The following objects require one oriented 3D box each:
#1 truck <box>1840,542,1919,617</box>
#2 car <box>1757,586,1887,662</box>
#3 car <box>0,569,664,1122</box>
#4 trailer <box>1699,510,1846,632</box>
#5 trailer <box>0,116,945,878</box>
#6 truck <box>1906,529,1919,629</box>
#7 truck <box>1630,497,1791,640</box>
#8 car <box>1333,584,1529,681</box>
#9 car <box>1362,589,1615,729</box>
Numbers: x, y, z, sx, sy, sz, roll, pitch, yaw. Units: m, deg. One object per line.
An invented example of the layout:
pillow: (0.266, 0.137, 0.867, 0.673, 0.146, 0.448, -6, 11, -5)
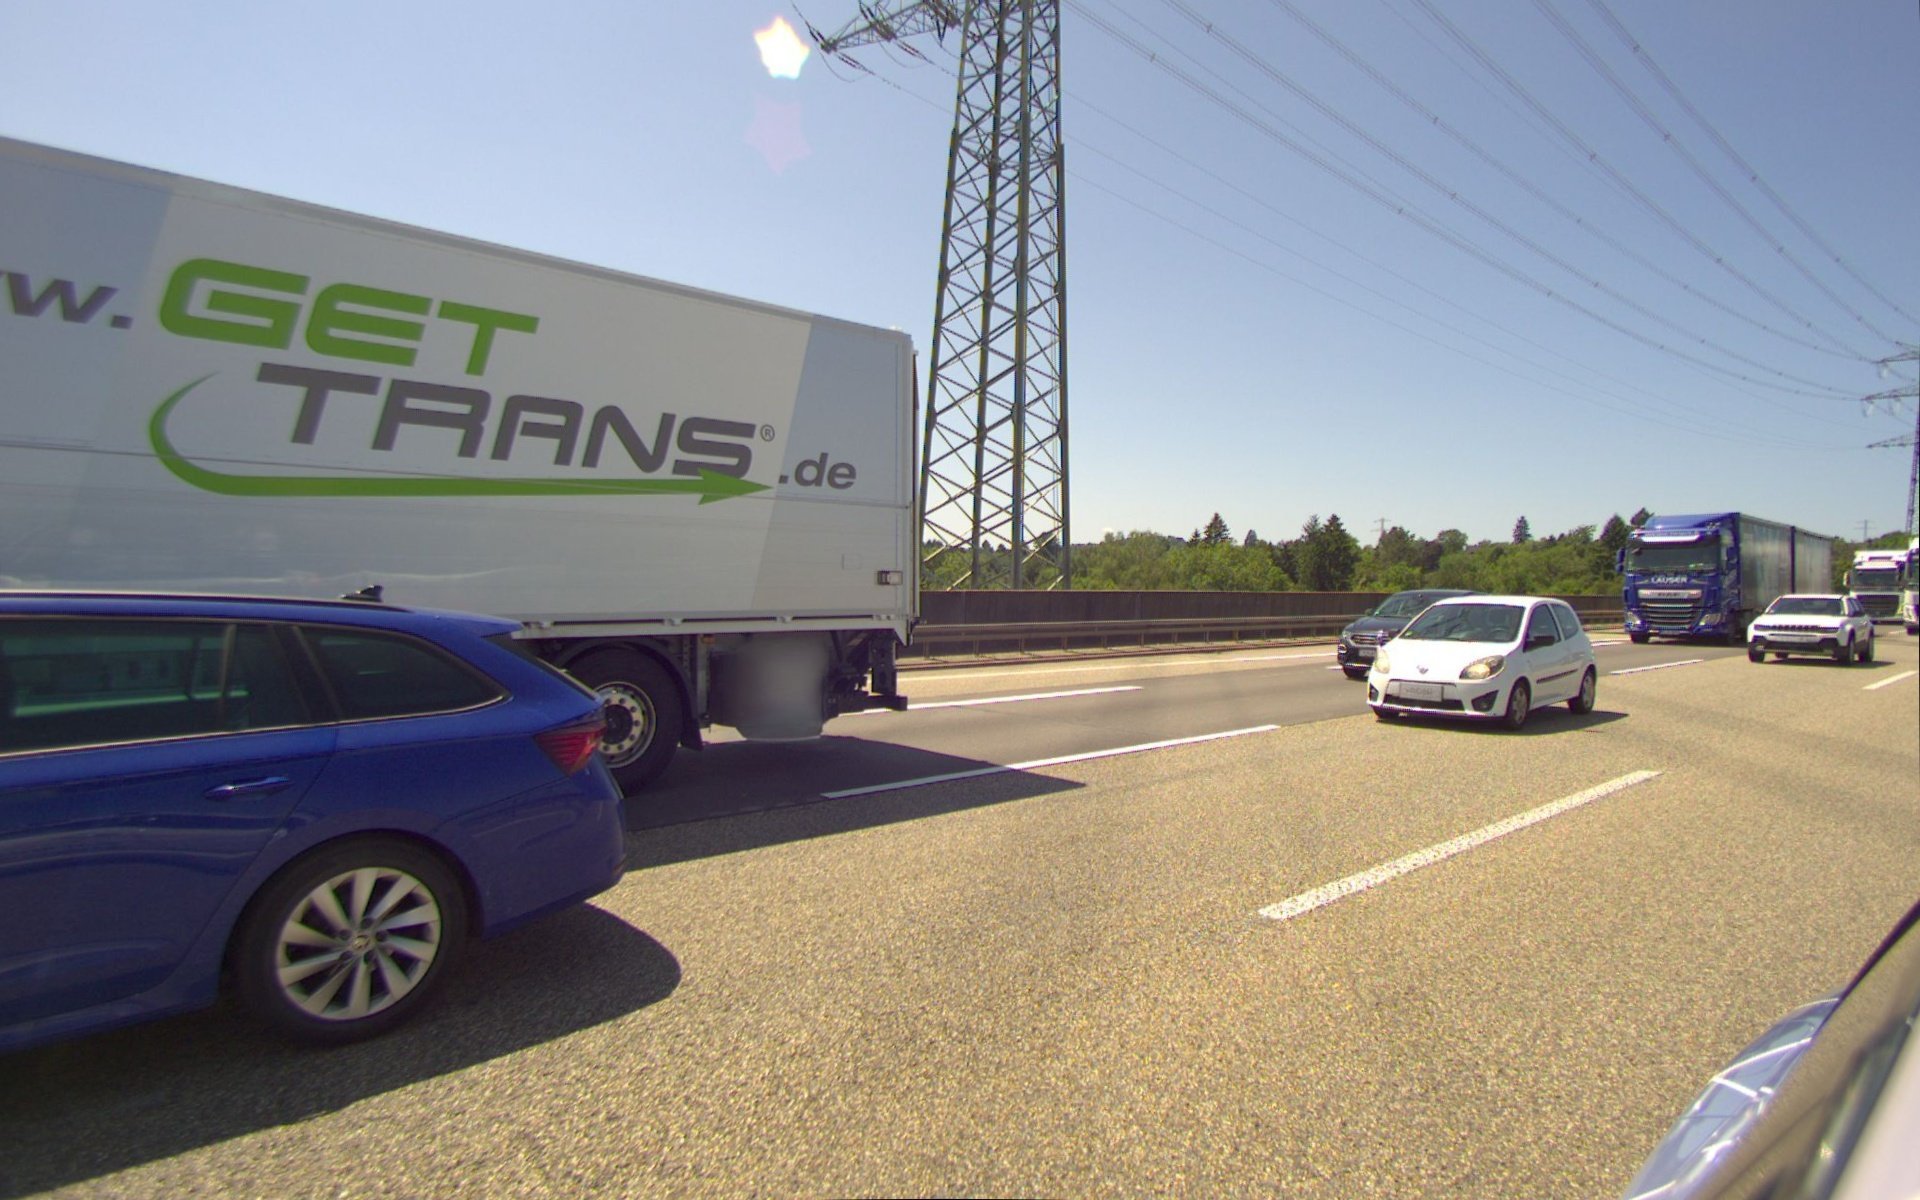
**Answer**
truck: (51.130, -1.113, 55.920, 6.624, 3.941, 2.911, -1, 0, -42)
car: (19.323, 0.473, 22.635, 3.688, 1.554, 1.720, 0, 1, -42)
car: (-3.352, 0.638, 3.077, 4.422, 1.458, 1.712, 0, 1, -42)
trailer: (30.725, -1.043, 38.055, 10.698, 4.044, 2.541, -1, 0, -42)
trailer: (-4.119, -0.506, 7.144, 8.147, 3.640, 2.849, 0, 0, -41)
truck: (40.889, -0.855, 41.158, 6.624, 3.941, 2.911, -1, 0, -42)
truck: (23.815, -0.905, 31.929, 7.789, 4.018, 2.515, 0, 0, -41)
car: (8.305, 0.486, 17.723, 3.821, 1.524, 1.708, 0, 1, -41)
car: (6.519, 0.599, 12.345, 3.566, 1.458, 1.582, 0, 1, -41)
